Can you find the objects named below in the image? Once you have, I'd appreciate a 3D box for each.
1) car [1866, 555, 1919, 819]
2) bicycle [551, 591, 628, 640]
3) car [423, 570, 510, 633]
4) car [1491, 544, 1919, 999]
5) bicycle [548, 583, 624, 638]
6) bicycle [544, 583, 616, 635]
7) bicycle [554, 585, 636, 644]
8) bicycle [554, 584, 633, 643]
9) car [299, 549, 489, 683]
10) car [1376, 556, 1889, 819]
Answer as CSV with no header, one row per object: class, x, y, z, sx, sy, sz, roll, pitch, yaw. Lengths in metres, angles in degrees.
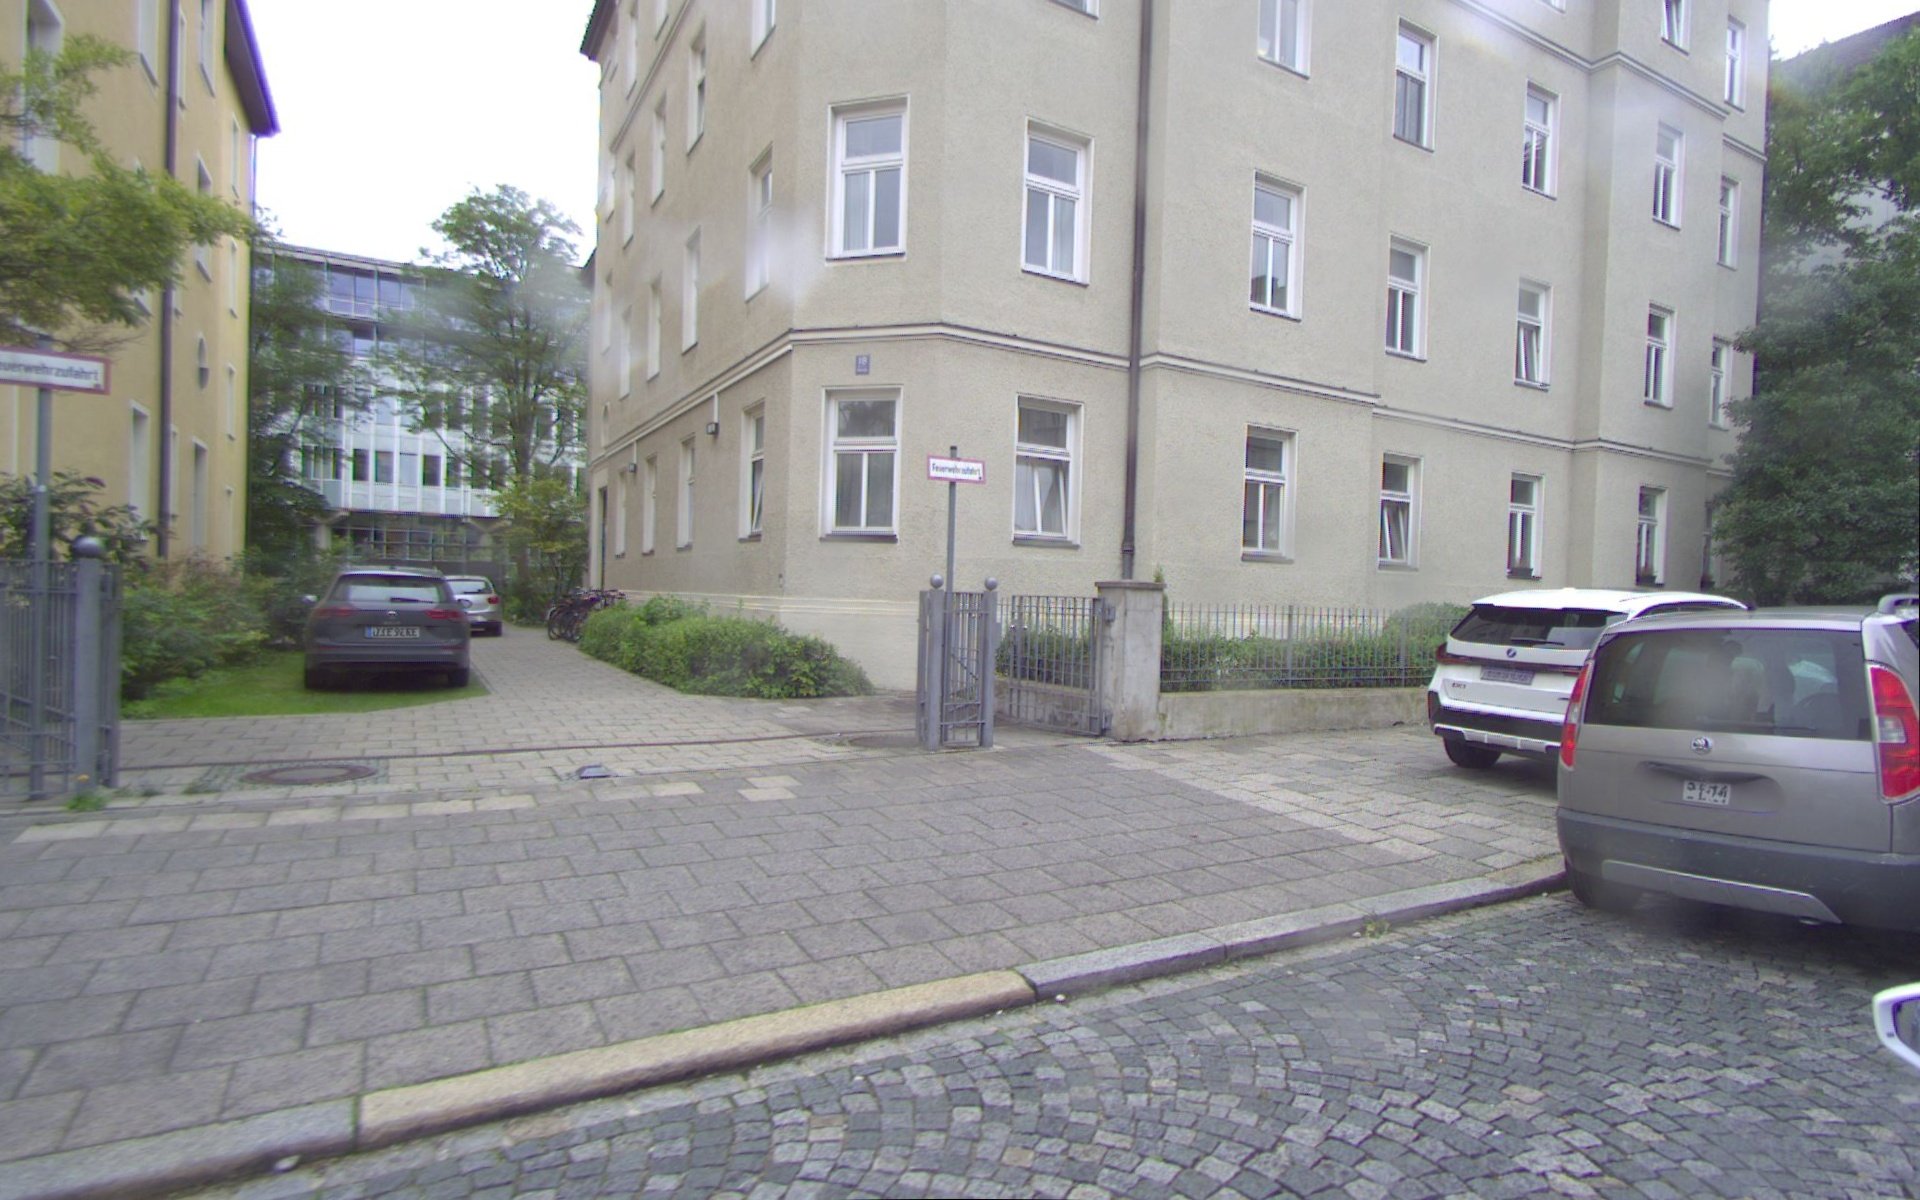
car,9.437,0.692,8.113,4.772,1.942,1.864,2,-1,-31
bicycle,-7.824,0.332,21.243,1.452,1.009,0.514,1,1,-30
car,-12.262,0.029,24.844,1.727,1.407,3.960,2,0,-29
car,5.132,0.723,5.728,4.356,1.758,1.855,1,-2,-33
bicycle,-8.121,0.241,21.823,1.452,1.154,0.514,1,1,-30
bicycle,-8.600,0.209,22.758,1.452,1.154,0.498,1,1,-30
bicycle,-7.303,0.295,20.095,1.452,1.154,0.514,1,1,-30
bicycle,-7.520,0.280,20.615,1.452,1.154,0.514,1,1,-30
car,-7.237,0.181,12.999,1.811,1.442,4.050,2,0,-28
car,6.079,0.630,8.962,4.604,1.758,1.935,2,4,-31
